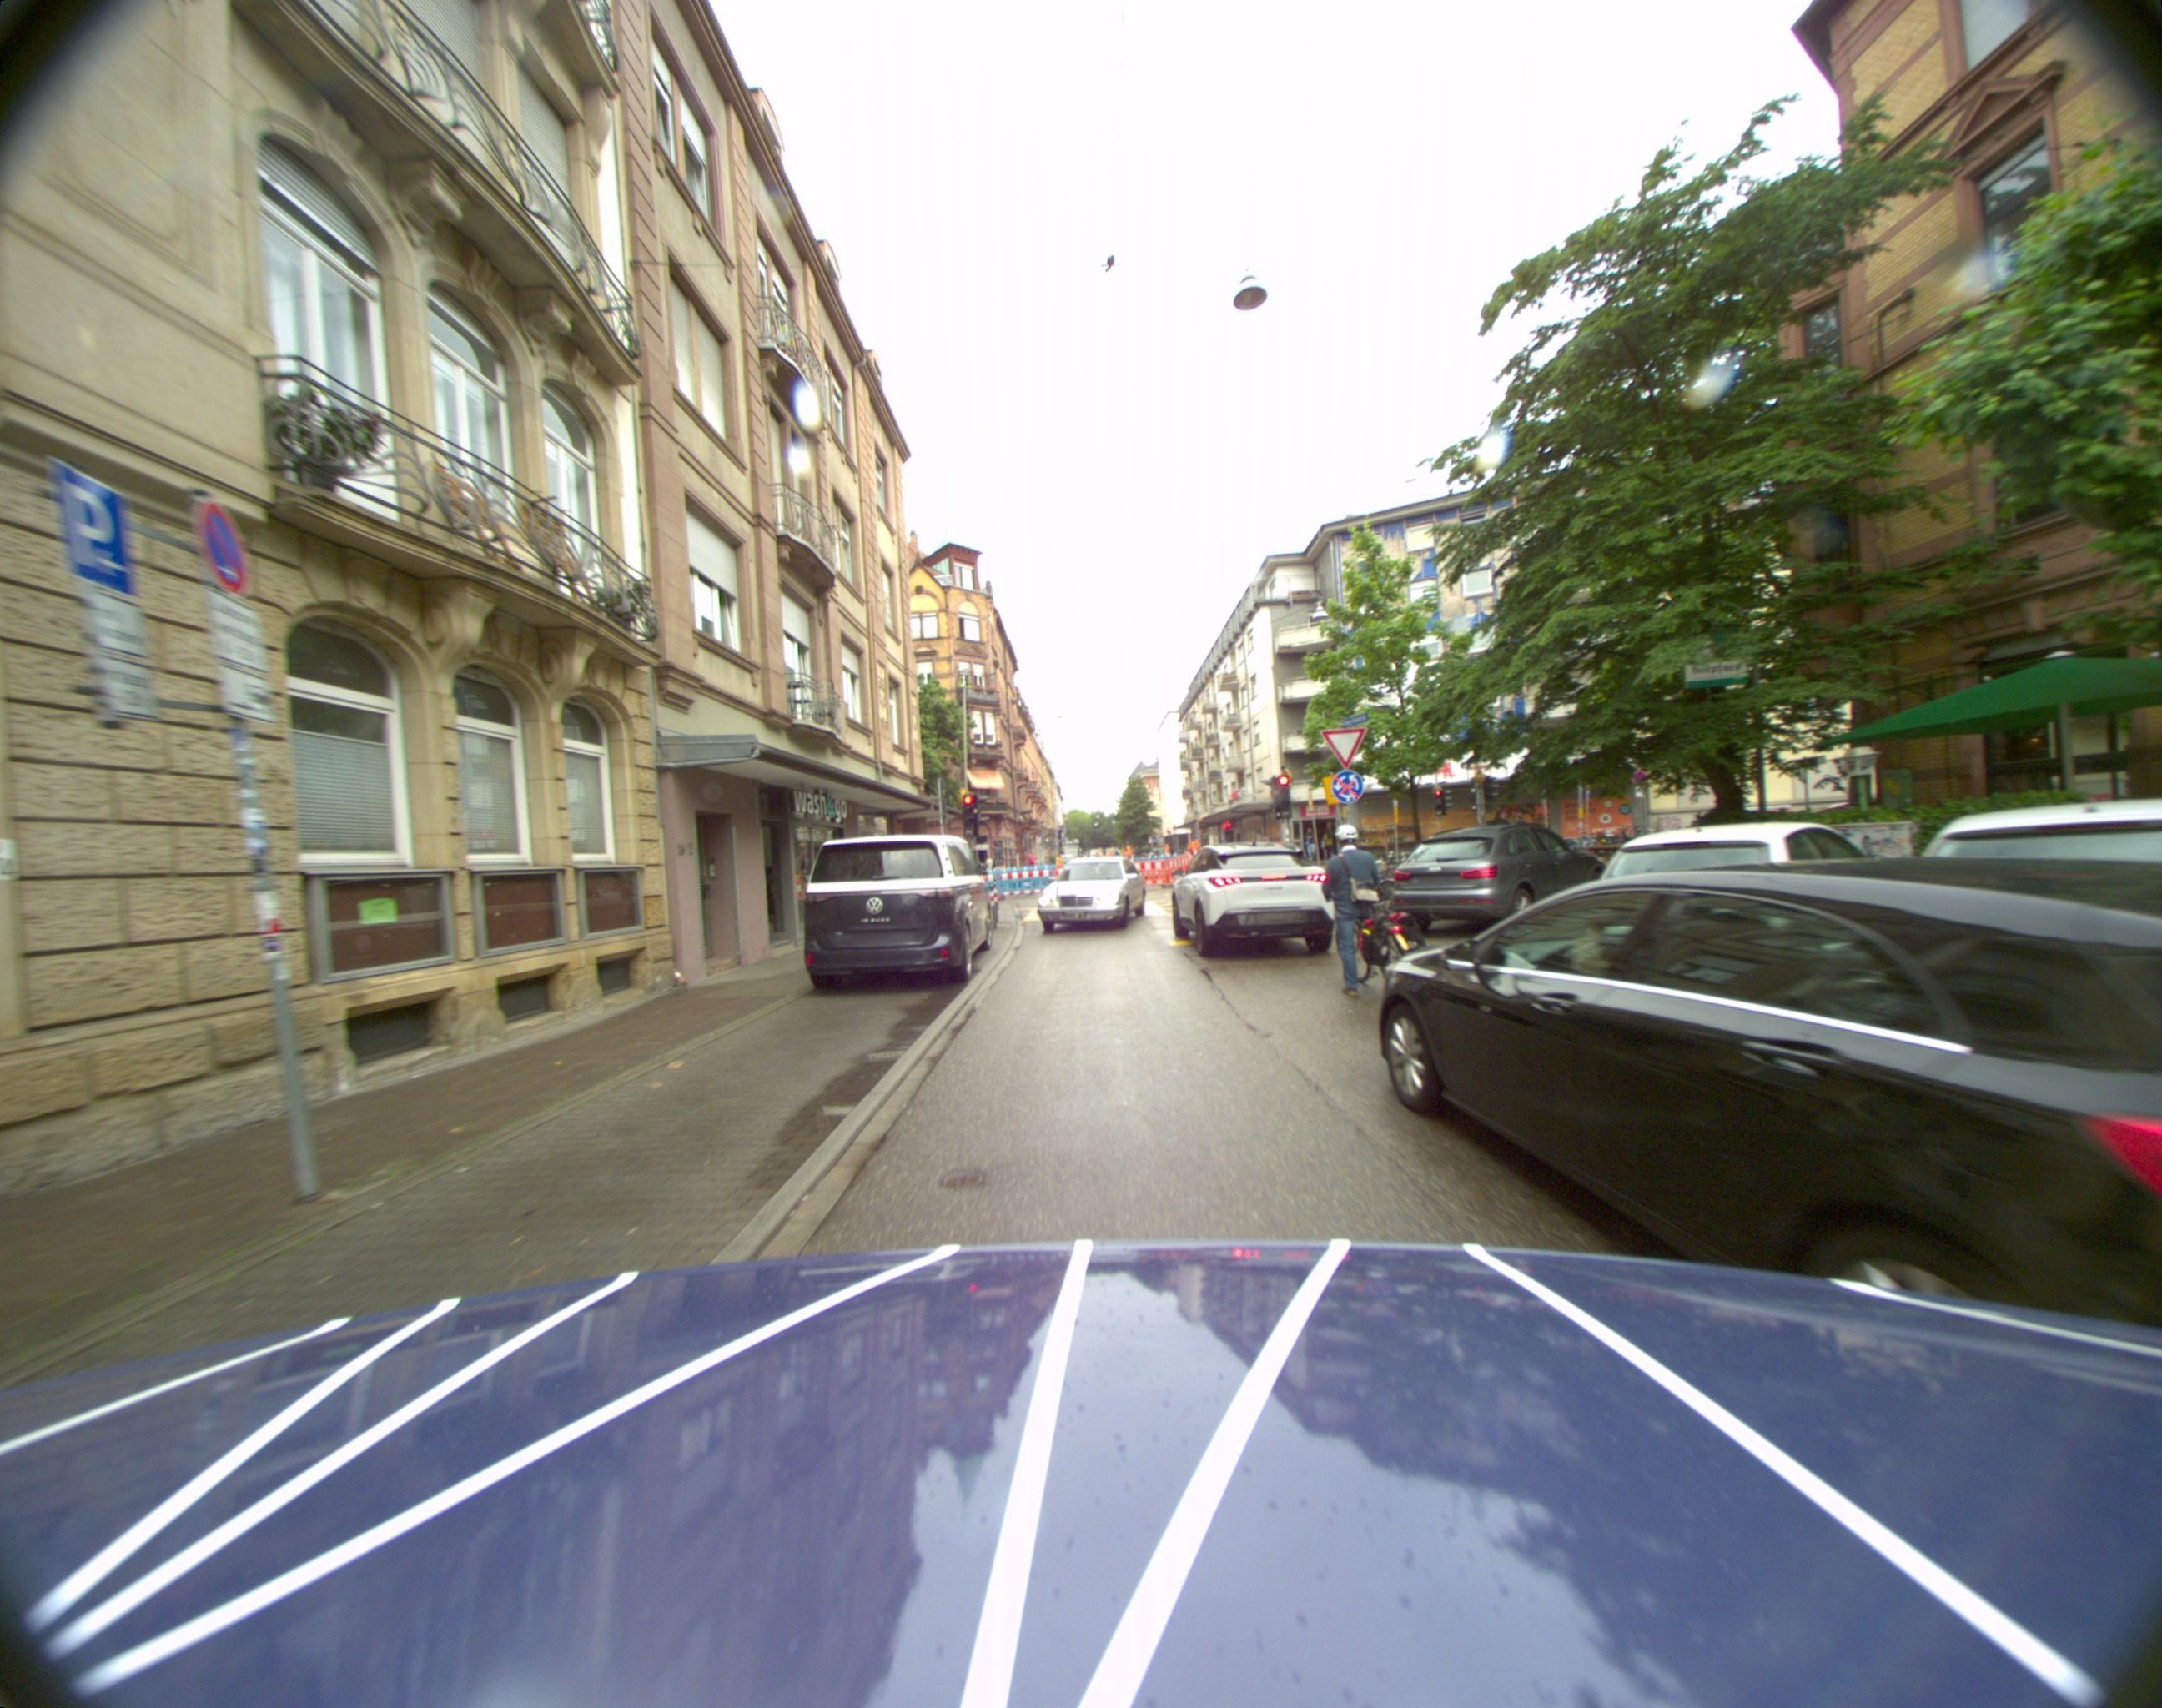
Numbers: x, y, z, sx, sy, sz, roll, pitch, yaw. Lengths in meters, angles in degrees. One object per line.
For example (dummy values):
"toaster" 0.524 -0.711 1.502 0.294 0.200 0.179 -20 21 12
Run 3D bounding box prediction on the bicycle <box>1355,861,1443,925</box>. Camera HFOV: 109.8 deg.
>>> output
"bicycle" 6.058 0.721 14.562 0.400 1.137 1.679 -5 1 -24

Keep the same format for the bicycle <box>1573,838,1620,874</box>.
"bicycle" 15.902 0.049 23.400 0.864 1.038 2.418 -3 -1 41

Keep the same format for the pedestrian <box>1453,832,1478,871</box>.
"pedestrian" 16.651 -0.109 32.912 0.797 1.606 0.606 -3 1 36

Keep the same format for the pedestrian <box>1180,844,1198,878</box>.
"pedestrian" 6.232 0.381 43.748 0.717 1.886 0.606 -3 1 36

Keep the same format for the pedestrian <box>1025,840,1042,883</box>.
"pedestrian" -2.871 0.454 46.260 0.696 2.594 0.539 -5 1 -31

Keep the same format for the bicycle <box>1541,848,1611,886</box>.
"bicycle" 11.860 0.317 18.215 1.394 0.810 0.405 -4 0 -4

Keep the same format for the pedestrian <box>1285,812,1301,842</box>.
"pedestrian" 11.675 -1.493 41.854 0.544 1.575 0.695 -3 2 36

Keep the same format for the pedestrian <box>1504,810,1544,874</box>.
"pedestrian" 14.399 -0.395 24.704 0.942 2.002 0.866 -3 0 36

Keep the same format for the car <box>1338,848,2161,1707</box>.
"car" 2.672 0.839 3.060 1.800 1.485 4.136 -4 2 0

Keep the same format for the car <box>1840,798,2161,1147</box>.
"car" 6.820 0.503 5.017 4.143 1.485 1.797 -7 3 -34

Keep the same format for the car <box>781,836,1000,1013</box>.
"car" -2.421 0.778 11.173 1.999 1.927 5.228 -2 1 -2

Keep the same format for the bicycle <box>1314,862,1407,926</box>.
"bicycle" 5.385 0.748 14.749 0.588 1.137 1.679 -5 1 -27

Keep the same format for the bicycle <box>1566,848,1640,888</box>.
"bicycle" 11.861 0.307 17.280 1.394 0.810 0.405 -4 0 -4

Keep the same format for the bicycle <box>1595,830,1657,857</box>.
"bicycle" 23.066 -0.439 32.195 1.997 0.966 0.590 -4 2 17

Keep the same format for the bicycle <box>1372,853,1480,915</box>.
"bicycle" 6.964 0.583 15.442 0.777 1.137 1.928 -4 1 -22

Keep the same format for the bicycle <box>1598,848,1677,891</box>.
"bicycle" 11.901 0.325 16.249 1.394 0.810 0.405 -4 0 -4

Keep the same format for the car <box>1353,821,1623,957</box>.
"car" 6.625 0.424 12.192 4.464 1.555 1.995 -6 3 -35

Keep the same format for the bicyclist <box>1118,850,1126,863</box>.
"bicyclist" 5.446 0.318 101.191 0.993 1.591 1.262 -4 0 -1

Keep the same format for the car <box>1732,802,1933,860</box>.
"car" 24.919 -0.728 25.424 4.376 1.630 1.846 -3 0 26

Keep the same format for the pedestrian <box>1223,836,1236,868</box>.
"pedestrian" 8.778 -0.113 44.985 0.604 1.837 0.770 -4 0 9

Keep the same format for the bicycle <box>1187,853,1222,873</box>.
"bicycle" 7.497 0.525 46.199 1.896 1.028 0.661 -6 0 -14

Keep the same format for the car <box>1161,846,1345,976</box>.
"car" 2.520 0.752 12.457 1.863 1.650 5.008 -1 0 0

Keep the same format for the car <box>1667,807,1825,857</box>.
"car" 25.663 -0.799 29.581 1.999 1.670 4.457 -4 0 -5

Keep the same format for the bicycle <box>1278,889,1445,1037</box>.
"bicycle" 2.704 0.987 7.657 0.772 1.173 2.269 -2 -1 -1

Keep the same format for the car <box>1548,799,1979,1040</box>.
"car" 6.998 0.440 7.645 4.731 1.554 1.996 -6 0 -33

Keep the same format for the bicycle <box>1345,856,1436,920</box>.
"bicycle" 6.162 0.664 15.244 0.400 1.178 1.874 -5 1 -24

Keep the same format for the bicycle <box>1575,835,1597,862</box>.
"bicycle" 20.329 -0.235 30.610 0.588 0.966 2.004 -4 2 30

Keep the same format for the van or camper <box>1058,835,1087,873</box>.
"van or camper" -0.817 -0.017 73.263 2.411 3.308 7.073 -4 0 -1

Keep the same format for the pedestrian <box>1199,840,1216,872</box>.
"pedestrian" 7.694 0.117 46.278 0.862 1.837 0.770 -4 0 9

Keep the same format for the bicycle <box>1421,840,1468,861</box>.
"bicycle" 17.612 -0.163 36.814 0.590 0.965 1.996 -4 2 -34

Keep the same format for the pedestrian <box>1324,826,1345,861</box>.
"pedestrian" 13.782 -0.558 41.252 0.692 1.757 0.865 -3 9 36

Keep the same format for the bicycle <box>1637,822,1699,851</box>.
"bicycle" 22.820 -0.693 29.549 2.000 0.966 0.589 -5 2 -4

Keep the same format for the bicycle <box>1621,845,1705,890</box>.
"bicycle" 11.795 0.275 15.414 1.394 0.810 0.405 -4 0 -4

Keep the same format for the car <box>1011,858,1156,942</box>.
"car" 0.262 0.888 16.630 1.857 1.390 4.985 -3 1 15
